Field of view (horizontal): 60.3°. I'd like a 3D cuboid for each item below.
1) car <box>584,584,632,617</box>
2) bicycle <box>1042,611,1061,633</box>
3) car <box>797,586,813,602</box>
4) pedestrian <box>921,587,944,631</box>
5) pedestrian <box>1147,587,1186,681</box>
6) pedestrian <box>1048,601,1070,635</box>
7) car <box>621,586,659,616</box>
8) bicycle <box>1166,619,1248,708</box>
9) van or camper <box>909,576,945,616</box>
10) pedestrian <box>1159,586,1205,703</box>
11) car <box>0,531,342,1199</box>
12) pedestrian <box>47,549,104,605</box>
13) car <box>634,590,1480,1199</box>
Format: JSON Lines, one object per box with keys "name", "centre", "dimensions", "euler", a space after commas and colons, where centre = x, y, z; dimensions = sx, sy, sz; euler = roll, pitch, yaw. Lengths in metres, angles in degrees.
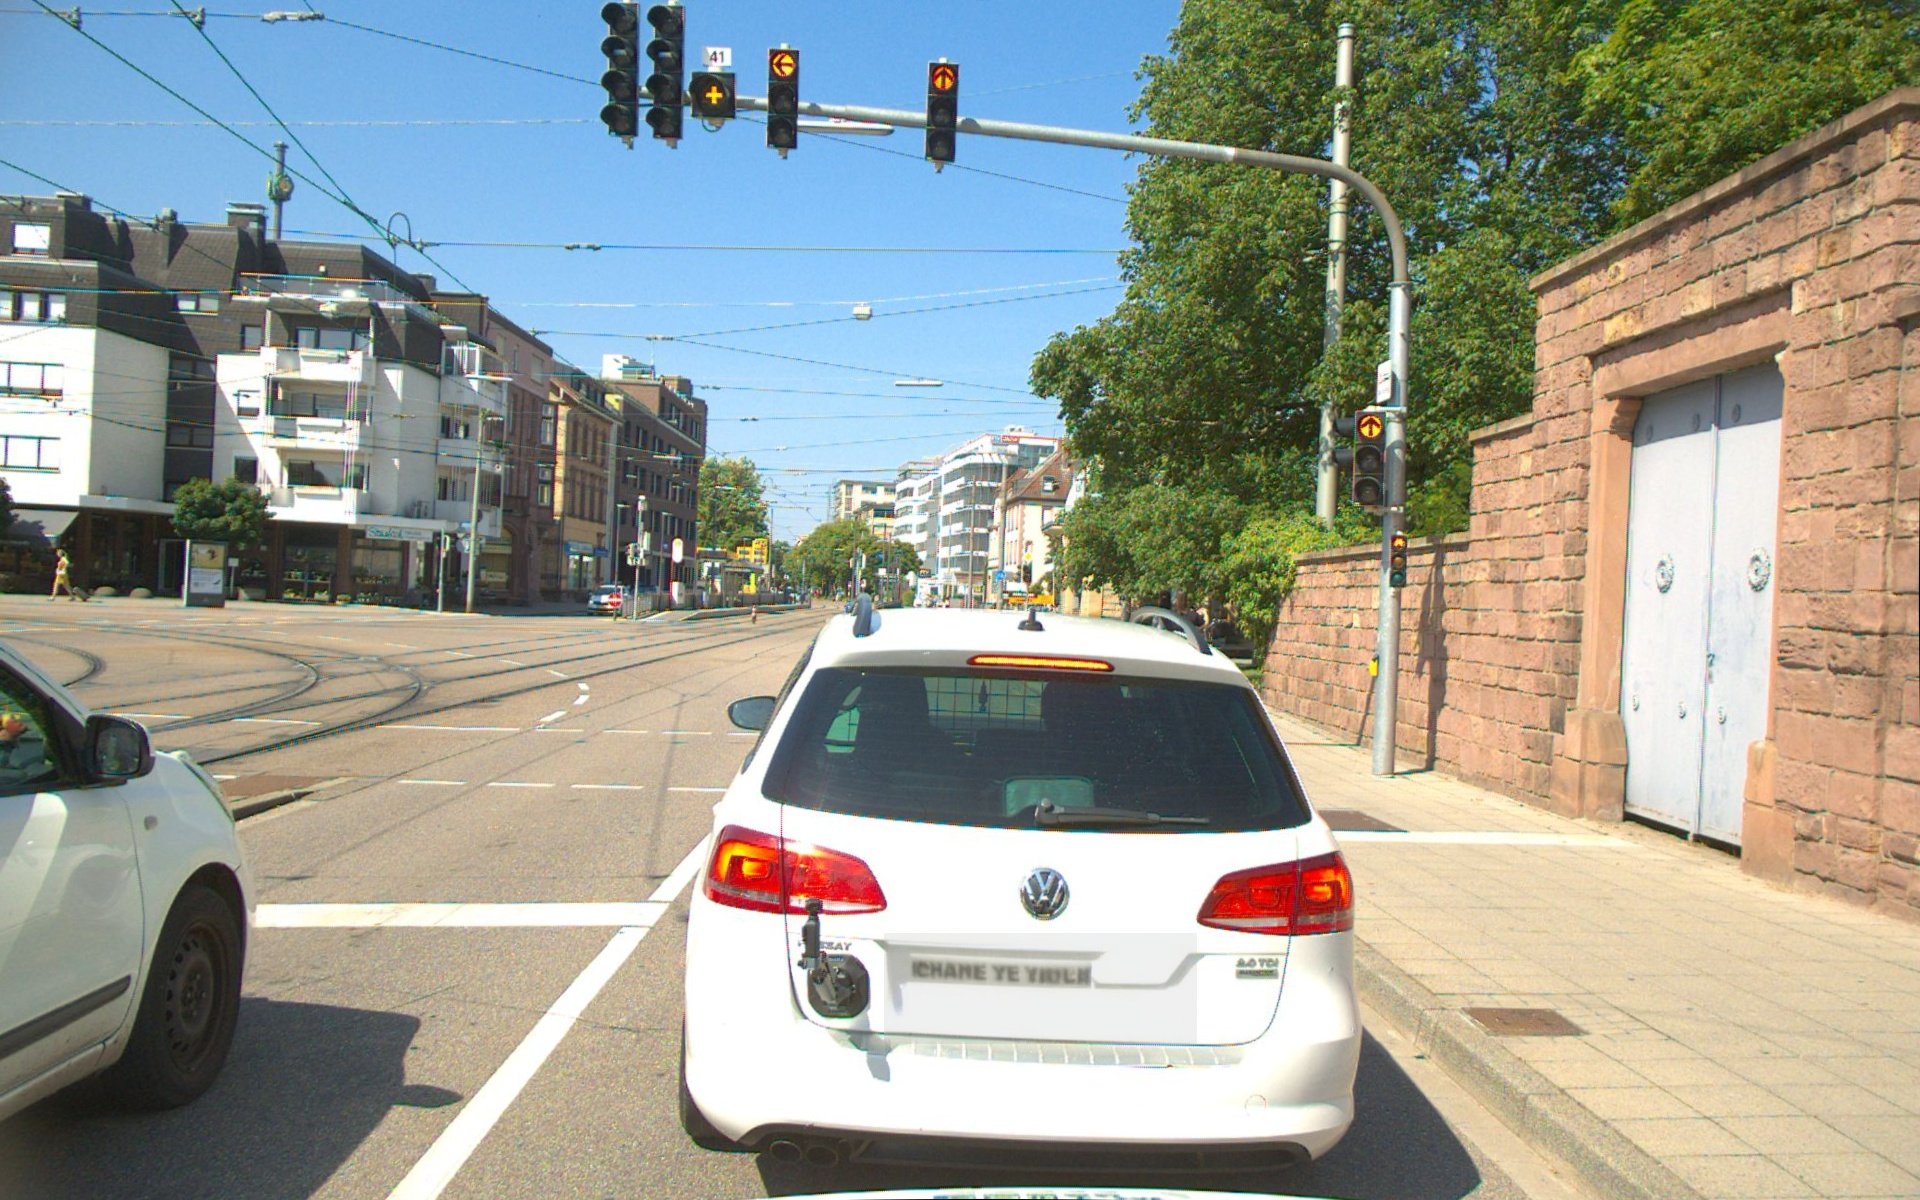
{"name": "car", "centre": [-17.017, 0.047, 80.095], "dimensions": [1.593, 1.456, 3.961], "euler": [4, 0, -3]}
{"name": "bicycle", "centre": [5.029, 1.197, 90.475], "dimensions": [0.710, 1.159, 2.196], "euler": [2, 0, 11]}
{"name": "car", "centre": [-20.541, -0.793, 219.582], "dimensions": [1.954, 2.049, 3.998], "euler": [1, 0, -3]}
{"name": "pedestrian", "centre": [-1.160, 0.390, 70.225], "dimensions": [0.813, 1.841, 0.830], "euler": [2, 0, 5]}
{"name": "pedestrian", "centre": [3.854, 0.620, 30.908], "dimensions": [0.636, 1.711, 0.708], "euler": [2, 0, 5]}
{"name": "pedestrian", "centre": [4.563, 0.823, 76.266], "dimensions": [0.838, 1.536, 0.782], "euler": [2, 0, 14]}
{"name": "car", "centre": [-17.117, 0.044, 88.574], "dimensions": [1.542, 1.484, 3.811], "euler": [2, 0, -4]}
{"name": "bicycle", "centre": [3.337, 0.840, 22.498], "dimensions": [0.526, 1.131, 1.802], "euler": [2, -1, -10]}
{"name": "van or camper", "centre": [-2.827, -0.371, 142.439], "dimensions": [2.884, 3.235, 6.612], "euler": [2, 0, -1]}
{"name": "pedestrian", "centre": [3.021, 0.597, 22.544], "dimensions": [0.529, 1.576, 0.663], "euler": [0, 0, -2]}
{"name": "car", "centre": [-2.902, 0.633, 3.438], "dimensions": [1.730, 1.588, 4.066], "euler": [1, 0, -1]}
{"name": "pedestrian", "centre": [-30.835, -0.797, 57.673], "dimensions": [1.103, 1.868, 1.430], "euler": [2, 0, 41]}
{"name": "car", "centre": [0.179, 0.731, 5.366], "dimensions": [1.717, 1.442, 3.852], "euler": [2, 0, -1]}
